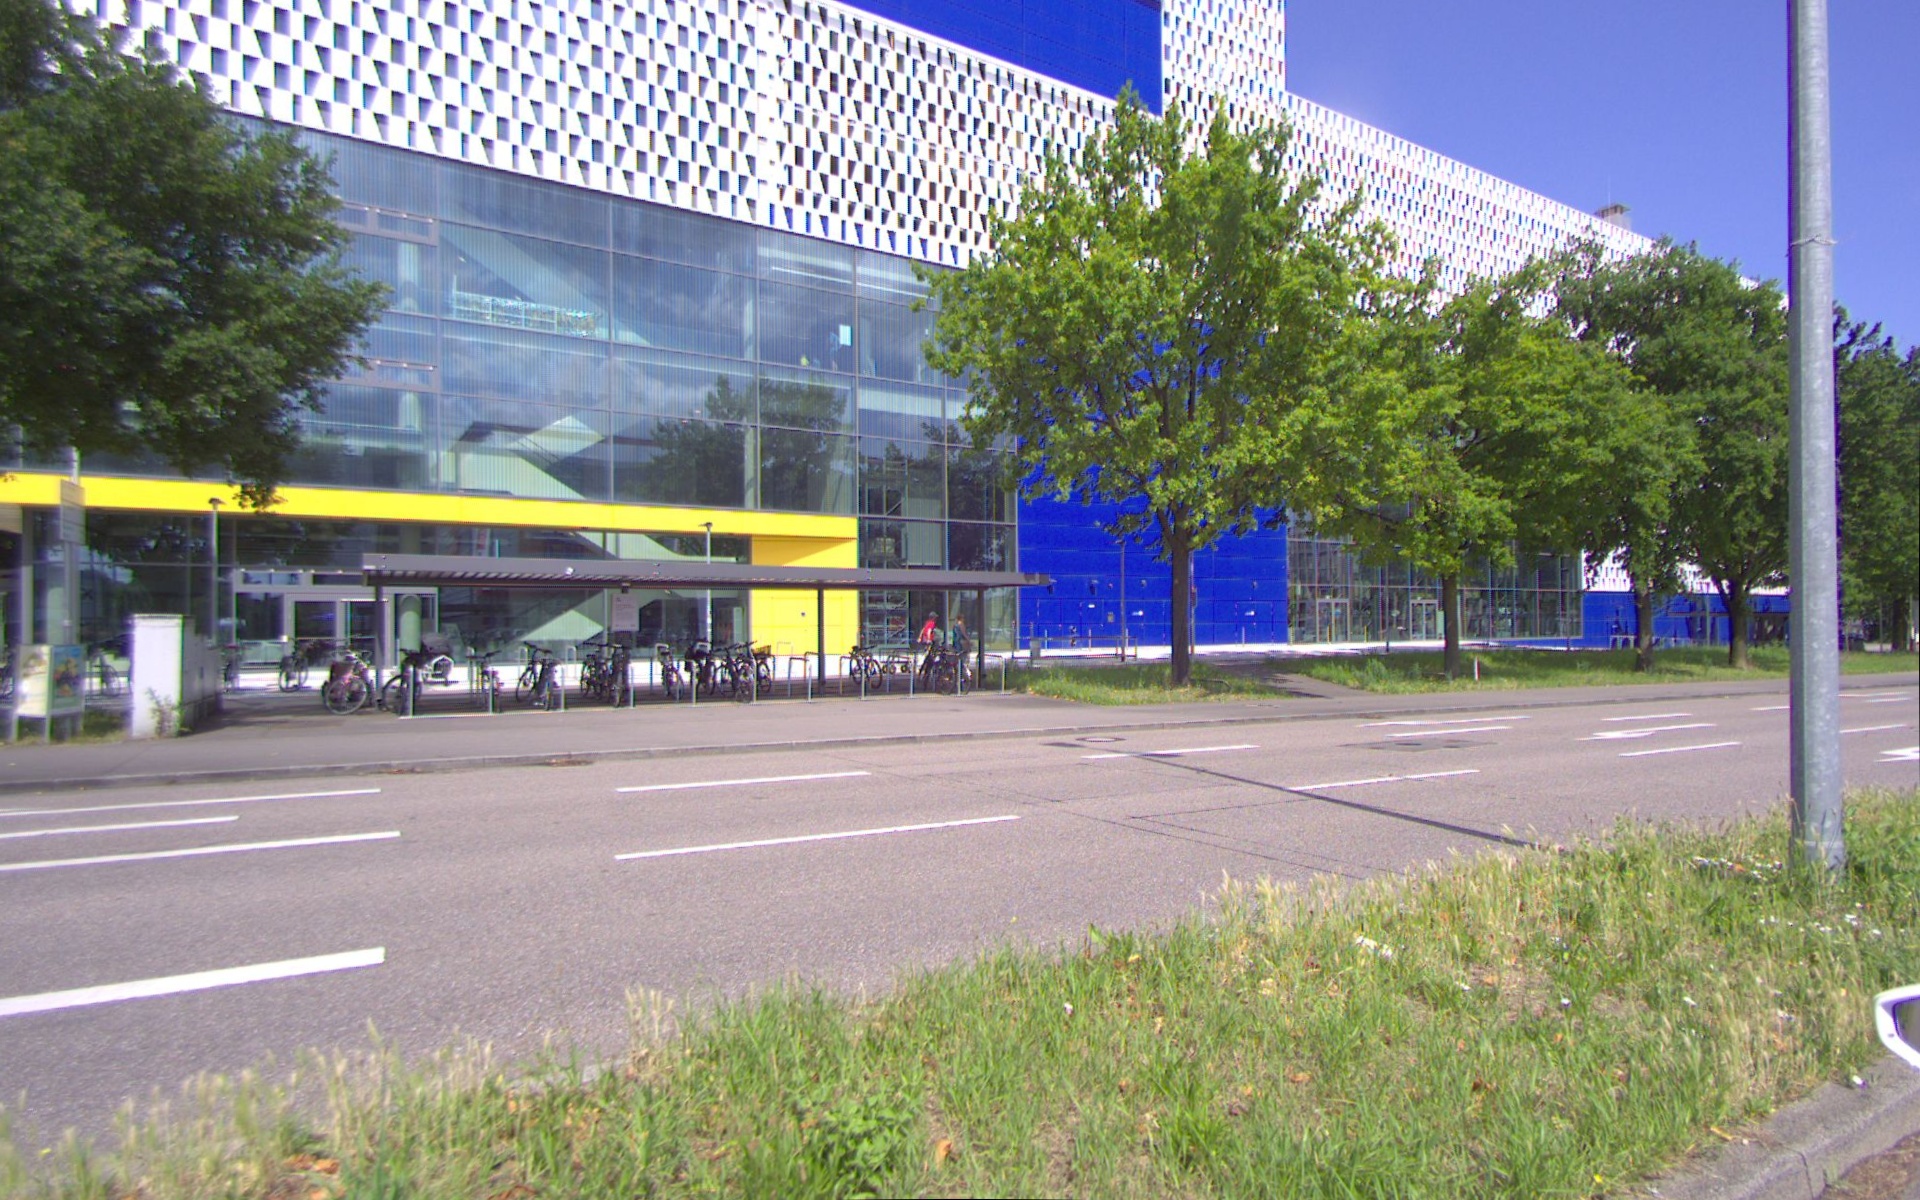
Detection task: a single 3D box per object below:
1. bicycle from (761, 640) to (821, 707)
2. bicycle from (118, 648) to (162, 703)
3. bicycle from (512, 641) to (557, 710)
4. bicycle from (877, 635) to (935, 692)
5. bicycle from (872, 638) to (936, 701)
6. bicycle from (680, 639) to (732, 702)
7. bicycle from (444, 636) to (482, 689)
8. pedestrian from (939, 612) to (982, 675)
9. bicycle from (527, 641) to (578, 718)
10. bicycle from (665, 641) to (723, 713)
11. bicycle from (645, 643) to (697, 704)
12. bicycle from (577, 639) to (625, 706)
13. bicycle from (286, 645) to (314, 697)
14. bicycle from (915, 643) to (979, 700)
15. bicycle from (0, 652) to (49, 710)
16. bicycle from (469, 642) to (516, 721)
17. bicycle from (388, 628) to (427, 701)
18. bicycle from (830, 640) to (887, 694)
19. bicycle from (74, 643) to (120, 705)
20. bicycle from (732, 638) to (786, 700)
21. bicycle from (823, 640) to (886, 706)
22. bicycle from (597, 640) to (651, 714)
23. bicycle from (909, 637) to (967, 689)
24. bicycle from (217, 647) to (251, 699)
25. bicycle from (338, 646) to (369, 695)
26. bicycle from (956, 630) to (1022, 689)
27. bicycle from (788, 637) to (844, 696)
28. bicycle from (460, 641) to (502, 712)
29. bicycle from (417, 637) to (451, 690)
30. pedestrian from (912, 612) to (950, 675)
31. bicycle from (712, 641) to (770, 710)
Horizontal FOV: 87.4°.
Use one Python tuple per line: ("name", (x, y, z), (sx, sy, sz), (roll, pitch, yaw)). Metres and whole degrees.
("bicycle", (-3.537, 1.495, 20.938), (0.622, 1.289, 1.916), (0, -1, -30))
("bicycle", (-17.528, 1.597, 21.494), (0.523, 1.084, 1.922), (1, -2, -33))
("bicycle", (-8.659, 1.497, 20.405), (0.622, 1.289, 1.916), (0, -1, -30))
("bicycle", (-1.350, 1.533, 24.713), (0.622, 1.289, 1.916), (0, -1, -30))
("bicycle", (-1.254, 1.516, 22.236), (0.622, 1.289, 1.916), (0, -1, -30))
("bicycle", (-5.649, 1.535, 22.247), (0.622, 1.289, 1.916), (0, -1, -30))
("bicycle", (-12.424, 1.528, 25.085), (0.591, 1.260, 1.933), (1, -2, -33))
("pedestrian", (0.011, 1.209, 28.300), (0.876, 1.725, 0.946), (1, -1, -30))
("bicycle", (-7.595, 1.438, 18.676), (0.622, 1.289, 2.079), (0, -1, -30))
("bicycle", (-5.194, 1.459, 19.543), (0.622, 1.289, 1.916), (0, -1, -30))
("bicycle", (-6.186, 1.539, 21.443), (0.622, 1.199, 1.916), (0, -1, -30))
("bicycle", (-7.534, 1.477, 21.019), (0.622, 1.289, 1.916), (0, -1, -30))
("bicycle", (-15.243, 1.616, 23.216), (0.515, 1.104, 1.918), (0, -1, -33))
("bicycle", (-0.315, 1.597, 22.801), (0.622, 1.199, 1.916), (0, -1, -30))
("bicycle", (-19.032, 1.615, 20.358), (0.523, 1.084, 1.922), (1, -2, -33))
("bicycle", (-8.397, 1.421, 18.008), (0.622, 1.289, 1.916), (0, -1, -30))
("bicycle", (-10.476, 1.188, 19.029), (0.622, 1.289, 1.916), (0, -1, -30))
("bicycle", (-2.446, 1.570, 24.025), (0.622, 1.195, 1.916), (0, -1, -30))
("bicycle", (-17.972, 1.522, 20.942), (0.463, 1.188, 1.944), (0, -1, -33))
("bicycle", (-4.543, 1.514, 22.599), (0.622, 1.289, 1.916), (0, -1, -30))
("bicycle", (-2.277, 1.527, 21.503), (0.622, 1.289, 1.916), (0, -1, -30))
("bicycle", (-6.444, 1.443, 19.220), (0.622, 1.289, 1.916), (0, -1, -30))
("bicycle", (-0.563, 1.562, 25.273), (0.622, 1.199, 1.916), (0, -1, -30))
("bicycle", (-16.251, 1.610, 22.514), (0.523, 1.084, 1.922), (1, -2, -33))
("bicycle", (-14.375, 1.649, 23.785), (0.523, 1.084, 1.922), (1, -2, -33))
("bicycle", (0.656, 1.358, 23.367), (0.622, 1.289, 1.916), (0, -1, -30))
("bicycle", (-3.381, 1.526, 23.451), (0.622, 1.289, 1.916), (0, -1, -30))
("bicycle", (-9.445, 1.467, 19.781), (0.622, 1.289, 1.916), (0, -1, -30))
("bicycle", (-12.956, 1.542, 24.712), (0.523, 1.225, 1.922), (1, -2, -33))
("pedestrian", (-0.854, 1.279, 29.752), (0.876, 1.847, 0.750), (1, -1, -30))
("bicycle", (-4.478, 1.503, 20.453), (0.622, 1.289, 1.916), (0, -1, -30))
